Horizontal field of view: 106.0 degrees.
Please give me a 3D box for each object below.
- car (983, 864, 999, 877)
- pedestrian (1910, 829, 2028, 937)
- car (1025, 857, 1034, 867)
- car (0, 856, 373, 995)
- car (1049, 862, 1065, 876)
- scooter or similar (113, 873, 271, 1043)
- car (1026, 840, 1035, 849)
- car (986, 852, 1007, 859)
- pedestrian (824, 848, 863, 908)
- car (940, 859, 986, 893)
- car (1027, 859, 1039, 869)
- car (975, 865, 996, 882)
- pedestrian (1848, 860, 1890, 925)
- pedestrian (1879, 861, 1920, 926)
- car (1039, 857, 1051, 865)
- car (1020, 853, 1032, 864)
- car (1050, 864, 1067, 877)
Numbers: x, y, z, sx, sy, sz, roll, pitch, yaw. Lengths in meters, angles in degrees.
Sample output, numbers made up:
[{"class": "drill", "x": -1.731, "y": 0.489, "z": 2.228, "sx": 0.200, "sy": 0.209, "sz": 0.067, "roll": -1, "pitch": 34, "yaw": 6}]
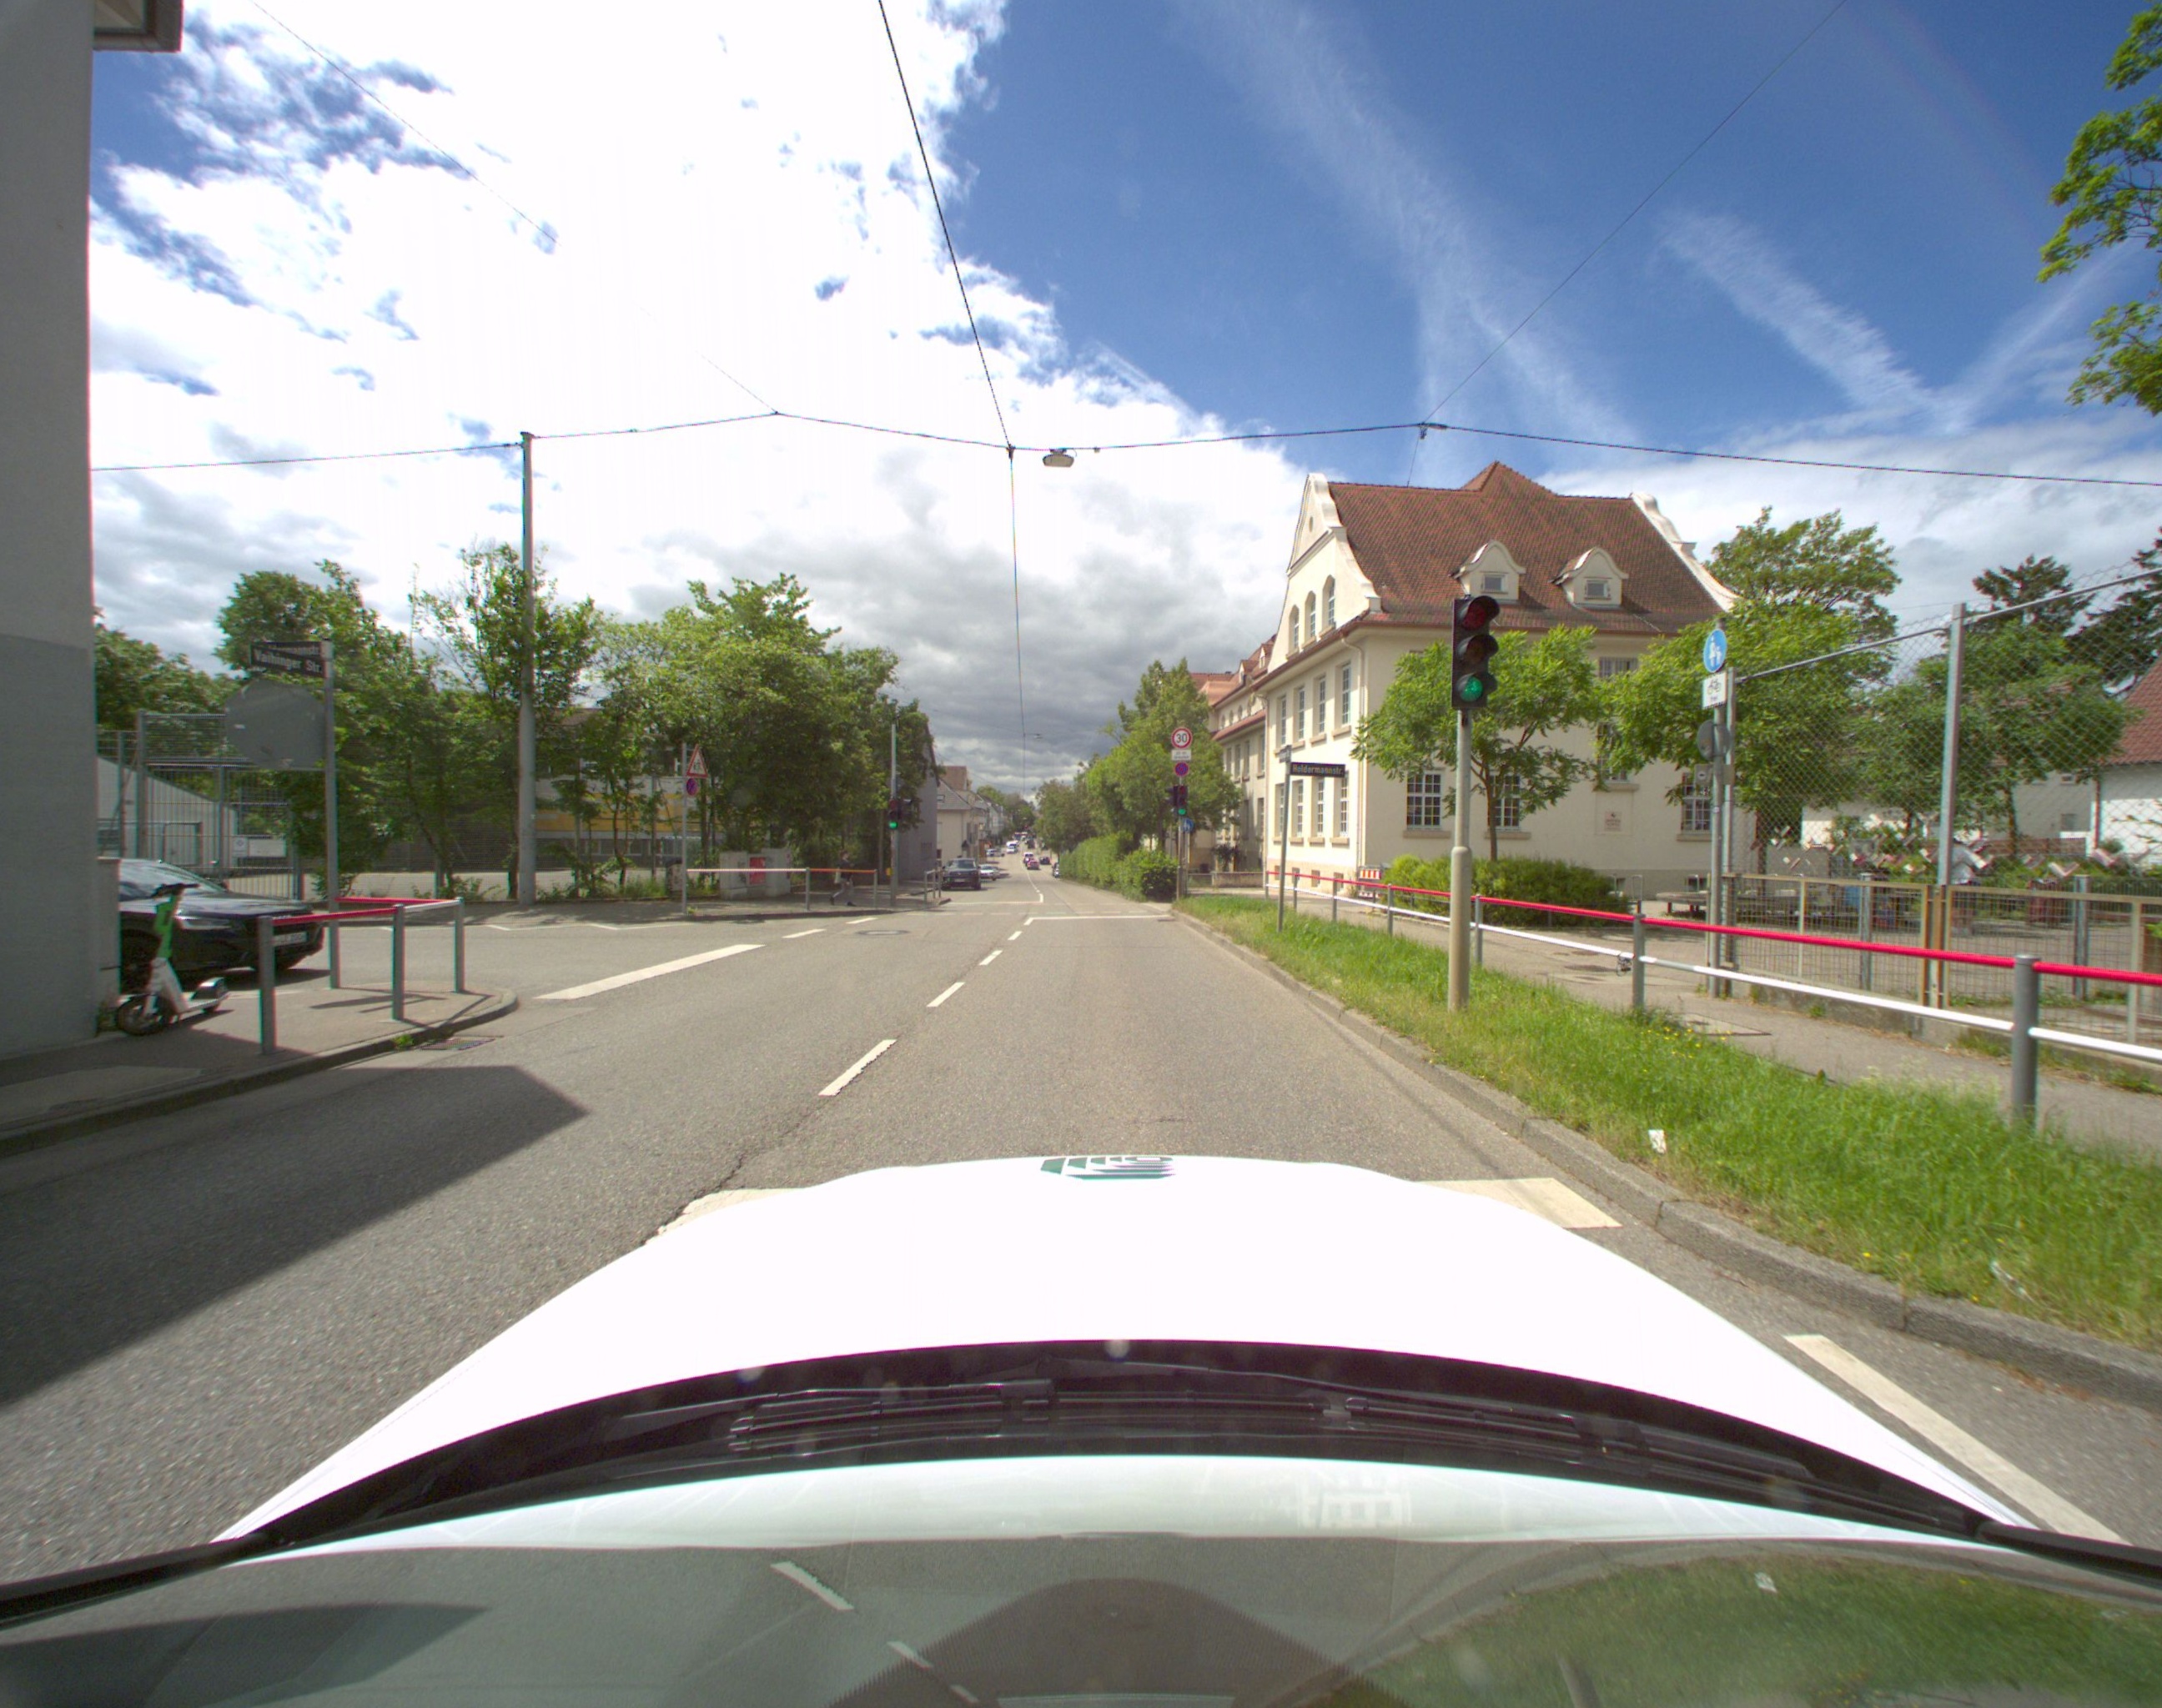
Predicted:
[{"class": "car", "x": -10.175, "y": 1.894, "z": 92.101, "sx": 1.644, "sy": 1.419, "sz": 3.692, "roll": 1, "pitch": -1, "yaw": -4}, {"class": "pedestrian", "x": 15.944, "y": 0.487, "z": 14.656, "sx": 0.748, "sy": 1.818, "sz": 1.143, "roll": 0, "pitch": 3, "yaw": -9}, {"class": "car", "x": -8.737, "y": 1.348, "z": 137.982, "sx": 1.272, "sy": 1.527, "sz": 3.044, "roll": 0, "pitch": 3, "yaw": -6}, {"class": "car", "x": -11.580, "y": 0.807, "z": 10.001, "sx": 3.980, "sy": 1.477, "sz": 1.856, "roll": 0, "pitch": 1, "yaw": -5}, {"class": "car", "x": -3.046, "y": 1.894, "z": 103.661, "sx": 1.841, "sy": 1.768, "sz": 4.508, "roll": 1, "pitch": -1, "yaw": -4}, {"class": "scooter or similar", "x": -7.381, "y": 0.795, "z": 6.822, "sx": 0.492, "sy": 1.261, "sz": 1.295, "roll": 0, "pitch": -1, "yaw": -29}, {"class": "car", "x": -14.048, "y": -2.742, "z": 227.661, "sx": 2.432, "sy": 2.318, "sz": 5.318, "roll": 2, "pitch": 0, "yaw": -4}, {"class": "car", "x": -17.584, "y": 0.303, "z": 168.994, "sx": 4.012, "sy": 1.492, "sz": 1.771, "roll": 2, "pitch": -1, "yaw": -31}, {"class": "pedestrian", "x": -6.464, "y": 0.641, "z": 22.169, "sx": 0.777, "sy": 1.597, "sz": 0.664, "roll": 2, "pitch": -1, "yaw": -40}, {"class": "car", "x": -5.825, "y": 1.062, "z": 40.793, "sx": 1.791, "sy": 1.610, "sz": 4.641, "roll": 0, "pitch": 0, "yaw": -2}, {"class": "car", "x": -7.617, "y": 1.572, "z": 128.084, "sx": 1.741, "sy": 1.416, "sz": 3.993, "roll": 0, "pitch": 1, "yaw": -5}, {"class": "car", "x": -8.589, "y": 1.728, "z": 73.663, "sx": 1.694, "sy": 1.390, "sz": 3.861, "roll": 0, "pitch": 0, "yaw": -4}, {"class": "pedestrian", "x": 15.125, "y": 0.729, "z": 15.638, "sx": 0.406, "sy": 1.230, "sz": 0.458, "roll": 0, "pitch": -1, "yaw": -25}, {"class": "pedestrian", "x": 15.974, "y": 0.759, "z": 15.898, "sx": 0.406, "sy": 1.230, "sz": 0.458, "roll": 0, "pitch": -1, "yaw": -25}, {"class": "car", "x": -6.376, "y": 1.207, "z": 144.031, "sx": 1.752, "sy": 1.370, "sz": 3.988, "roll": 1, "pitch": 2, "yaw": -9}, {"class": "car", "x": -9.964, "y": 0.859, "z": 146.978, "sx": 1.835, "sy": 1.861, "sz": 3.840, "roll": 1, "pitch": 2, "yaw": -8}, {"class": "car", "x": -2.716, "y": 2.002, "z": 97.822, "sx": 1.783, "sy": 1.509, "sz": 4.357, "roll": 1, "pitch": -1, "yaw": -4}]
